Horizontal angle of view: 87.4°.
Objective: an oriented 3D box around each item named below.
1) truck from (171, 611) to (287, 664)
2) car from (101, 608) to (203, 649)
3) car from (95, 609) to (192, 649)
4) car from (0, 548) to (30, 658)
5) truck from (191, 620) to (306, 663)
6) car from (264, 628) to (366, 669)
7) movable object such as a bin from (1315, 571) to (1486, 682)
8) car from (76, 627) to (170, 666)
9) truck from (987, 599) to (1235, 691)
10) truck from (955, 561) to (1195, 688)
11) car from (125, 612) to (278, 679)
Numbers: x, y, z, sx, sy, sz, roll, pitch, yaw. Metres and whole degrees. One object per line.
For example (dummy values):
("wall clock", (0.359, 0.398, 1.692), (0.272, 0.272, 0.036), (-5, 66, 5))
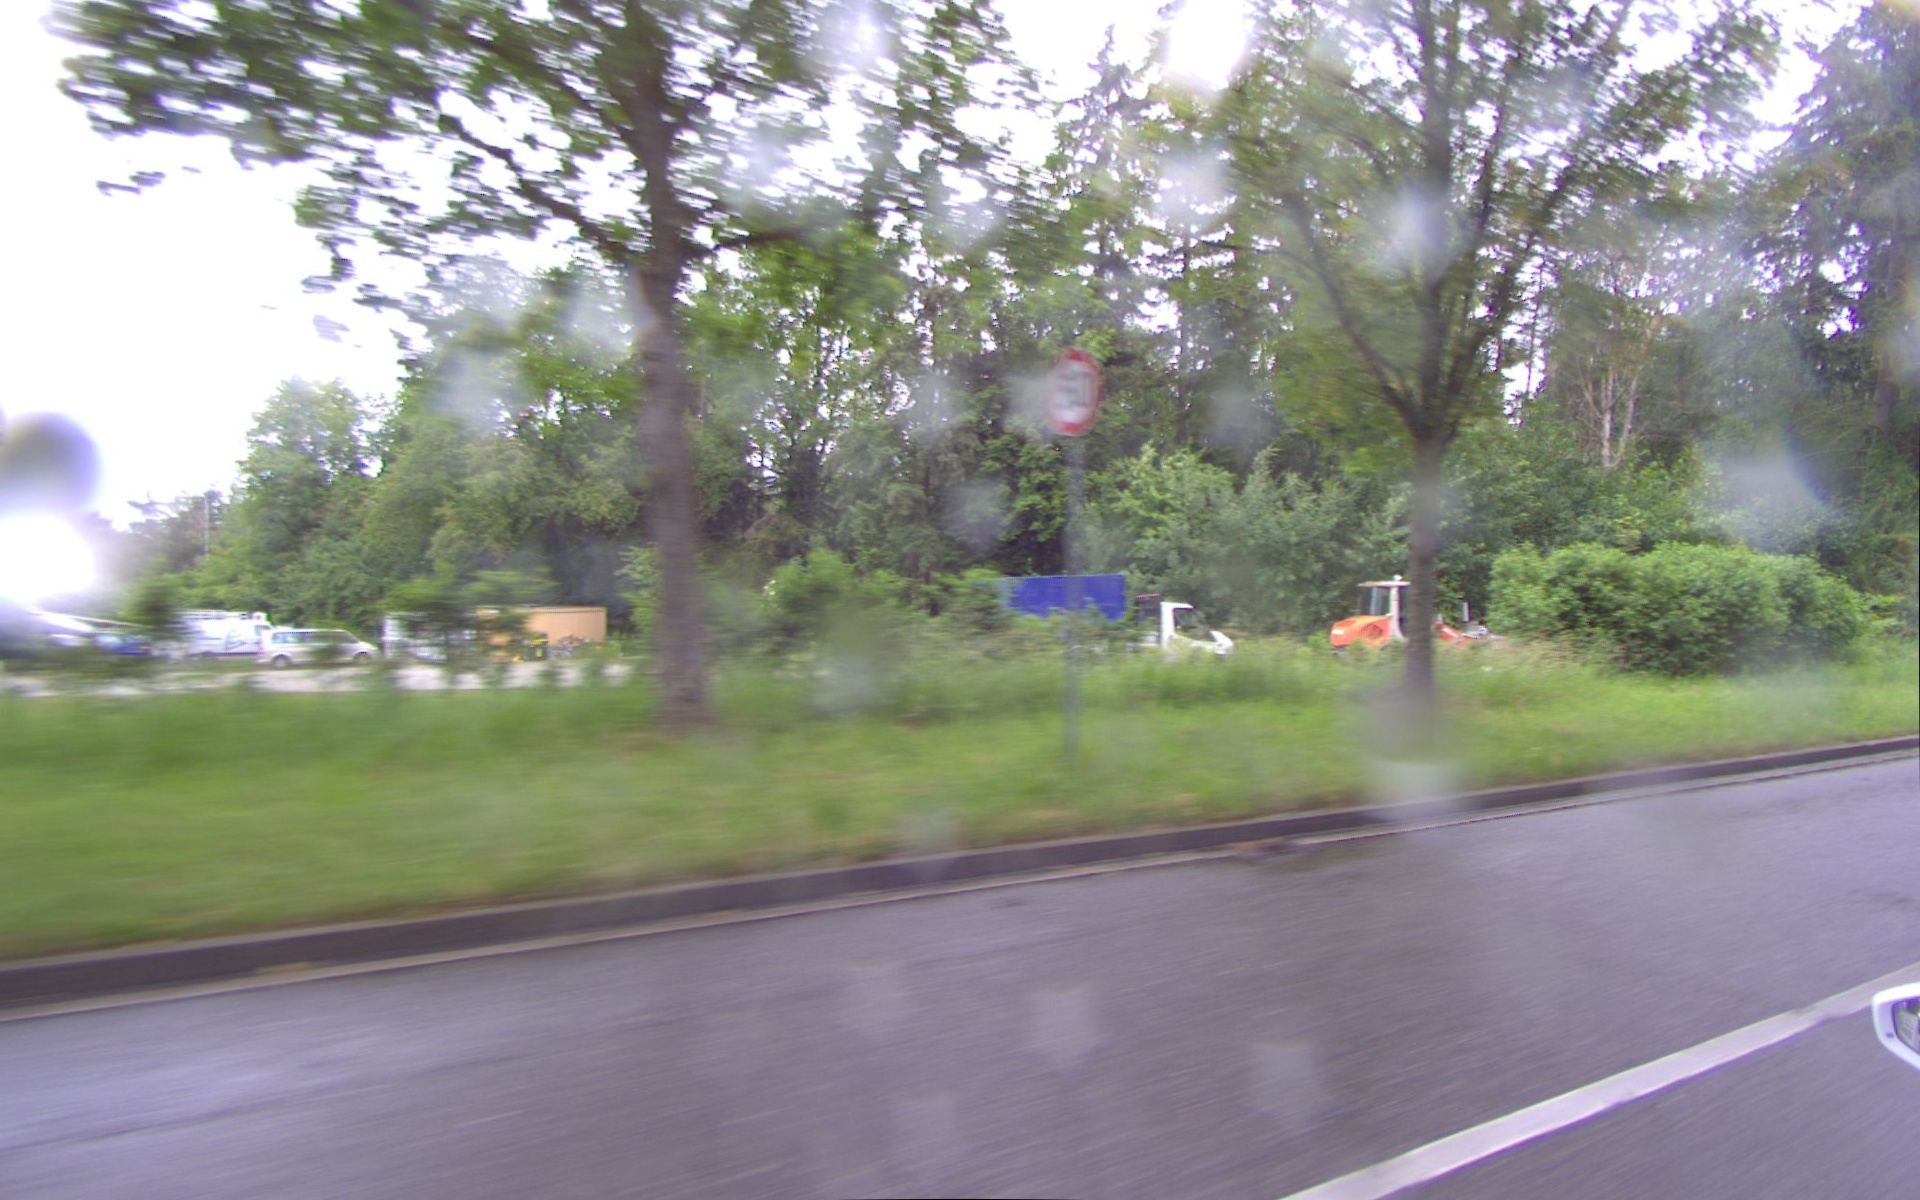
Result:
("truck", (-37.801, 1.870, 52.015), (4.658, 2.543, 1.974), (0, 1, -44))
("car", (-42.839, 1.479, 53.308), (1.970, 2.041, 3.980), (2, 1, 40))
("car", (-45.677, 1.581, 56.225), (1.971, 2.041, 3.979), (2, 1, 42))
("car", (-19.049, -0.321, 16.401), (5.178, 1.939, 1.893), (11, -5, -34))
("truck", (-35.164, 1.993, 49.680), (4.490, 1.929, 1.976), (0, 1, -42))
("car", (-31.914, 2.373, 49.739), (4.176, 1.829, 1.687), (1, 1, -37))
("movable object such as a bin", (12.155, 0.710, 27.807), (3.935, 2.899, 1.993), (1, 1, -17))
("car", (-49.800, 2.724, 59.830), (1.795, 2.041, 3.986), (2, 1, 36))
("truck", (3.930, 1.141, 26.527), (6.127, 2.232, 1.996), (0, 2, -10))
("truck", (2.582, 0.436, 21.970), (5.167, 2.491, 1.981), (-1, 2, -34))
("car", (-25.048, 1.465, 33.353), (3.961, 2.041, 1.753), (1, 1, -36))
